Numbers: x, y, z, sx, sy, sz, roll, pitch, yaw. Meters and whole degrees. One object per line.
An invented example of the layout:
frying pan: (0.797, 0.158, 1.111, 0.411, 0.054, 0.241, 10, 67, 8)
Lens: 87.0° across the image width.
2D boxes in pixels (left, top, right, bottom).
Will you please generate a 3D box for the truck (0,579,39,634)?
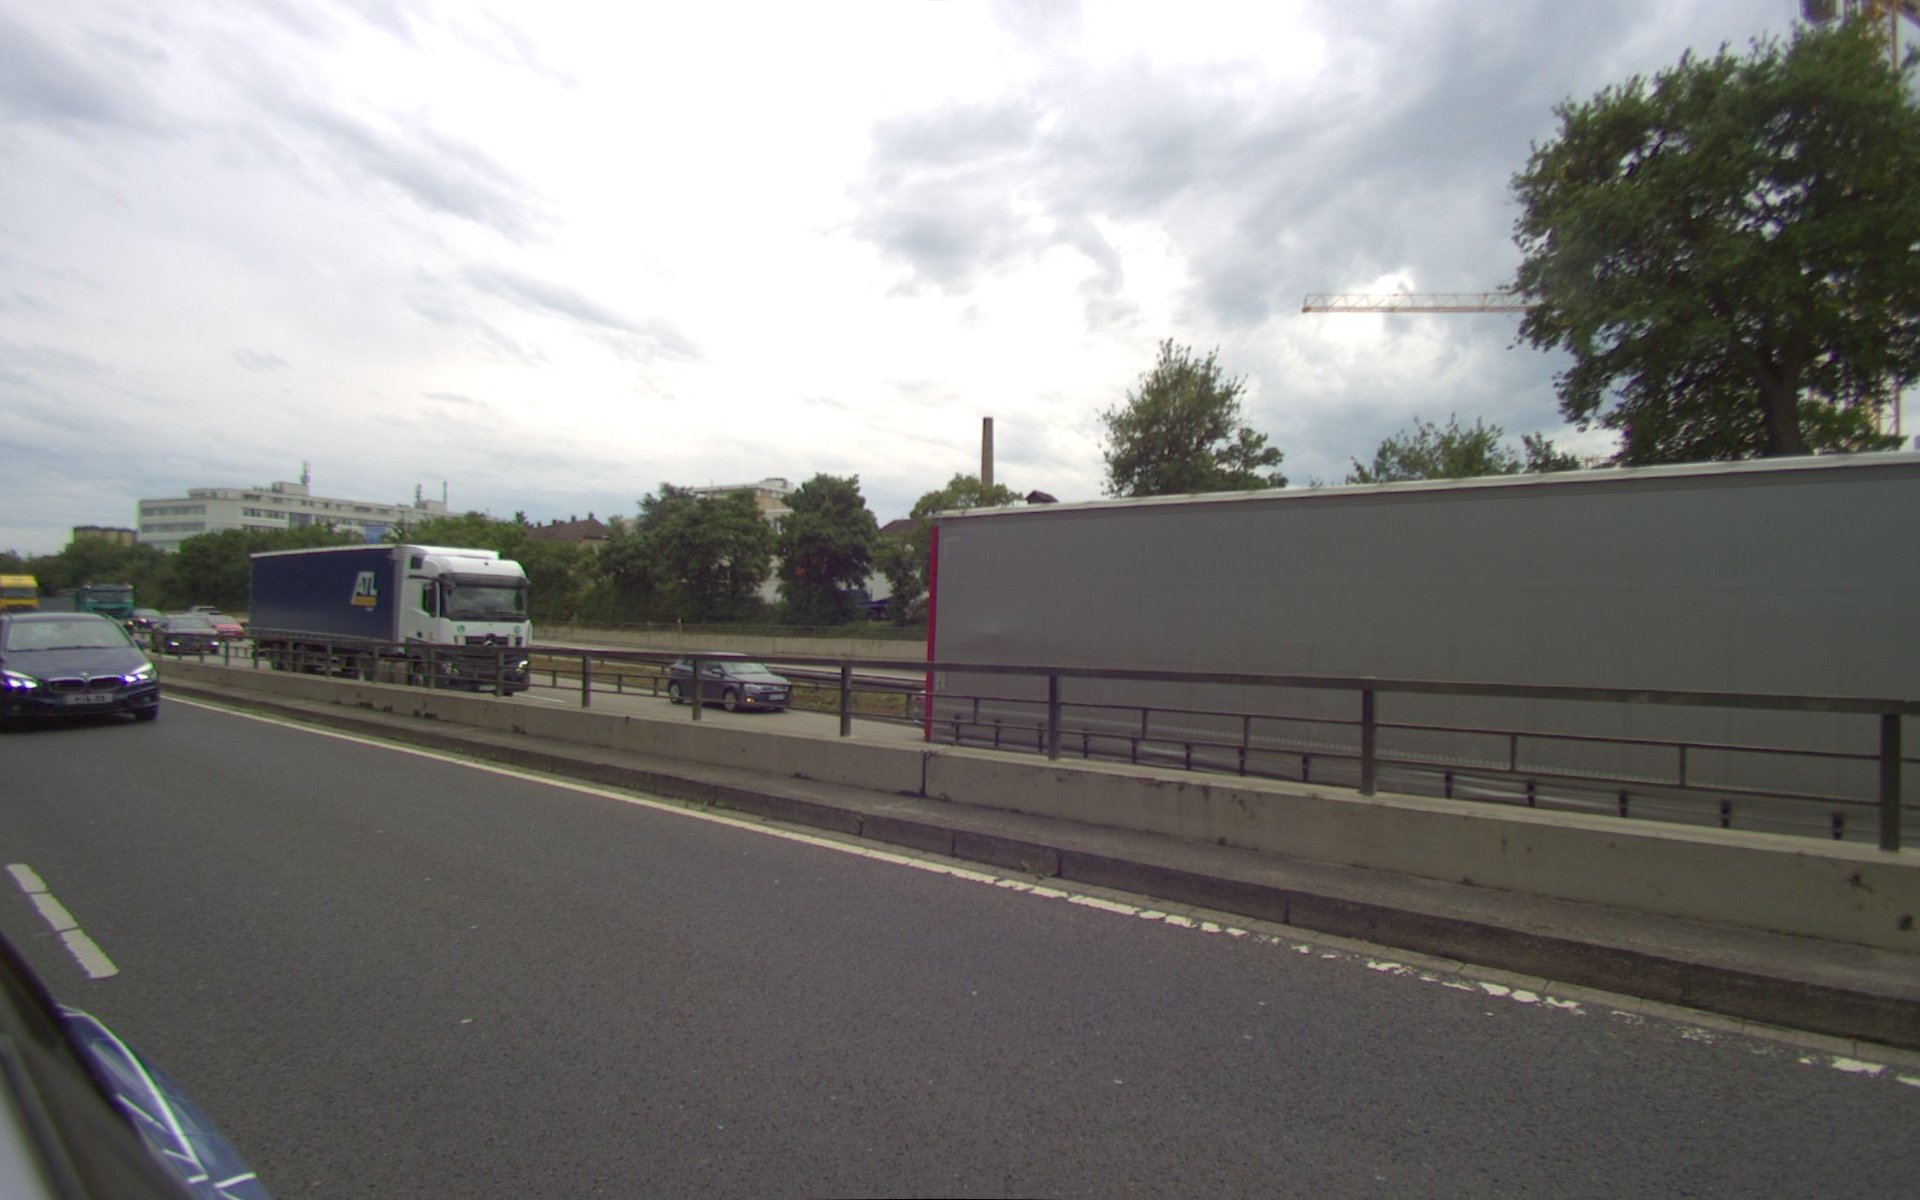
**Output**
truck: (-78.634, 0.551, 83.640, 6.516, 4.377, 2.856, 0, -2, 41)

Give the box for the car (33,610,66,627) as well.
car: (-84.291, 1.711, 93.720, 4.419, 1.575, 1.761, -1, 0, 41)

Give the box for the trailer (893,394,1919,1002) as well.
trailer: (5.477, 0.692, 9.351, 14.548, 4.067, 2.624, 0, -2, 41)

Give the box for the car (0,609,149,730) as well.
car: (-13.928, 0.941, 15.374, 4.419, 1.575, 1.761, -1, 0, 41)

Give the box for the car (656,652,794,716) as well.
car: (-6.317, 2.172, 26.978, 3.896, 1.452, 1.606, 0, -2, 42)

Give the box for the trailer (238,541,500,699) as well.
trailer: (-19.159, 0.584, 31.937, 14.777, 4.067, 2.498, 0, -2, 41)

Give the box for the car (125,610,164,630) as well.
car: (-60.895, 1.467, 75.582, 3.998, 1.452, 1.607, -1, 0, 41)

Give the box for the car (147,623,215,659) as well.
car: (-34.188, 1.750, 44.379, 3.998, 1.452, 1.607, -1, 0, 41)

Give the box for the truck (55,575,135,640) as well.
truck: (-51.593, 0.469, 60.294, 6.664, 3.663, 2.611, 0, -2, 41)

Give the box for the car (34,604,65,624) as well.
car: (-94.211, 1.456, 104.735, 3.998, 2.029, 1.973, -1, 0, 41)

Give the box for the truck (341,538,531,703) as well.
truck: (-14.509, 0.548, 27.834, 6.094, 4.067, 2.498, 0, -2, 41)

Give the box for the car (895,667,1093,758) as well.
car: (0.626, 2.198, 20.563, 3.895, 1.452, 1.607, -1, 0, 41)

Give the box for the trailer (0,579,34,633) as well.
trailer: (-85.335, 0.563, 89.475, 19.912, 4.387, 2.860, 0, -2, 41)

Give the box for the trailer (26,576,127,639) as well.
trailer: (-57.057, 0.509, 65.103, 16.741, 3.668, 2.580, 0, -2, 41)

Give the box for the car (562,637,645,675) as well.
car: (-15.336, 2.373, 43.482, 3.894, 1.452, 1.607, 0, -2, 40)

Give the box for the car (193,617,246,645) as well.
car: (-41.933, 1.735, 57.280, 3.998, 1.452, 1.607, -1, 0, 41)
